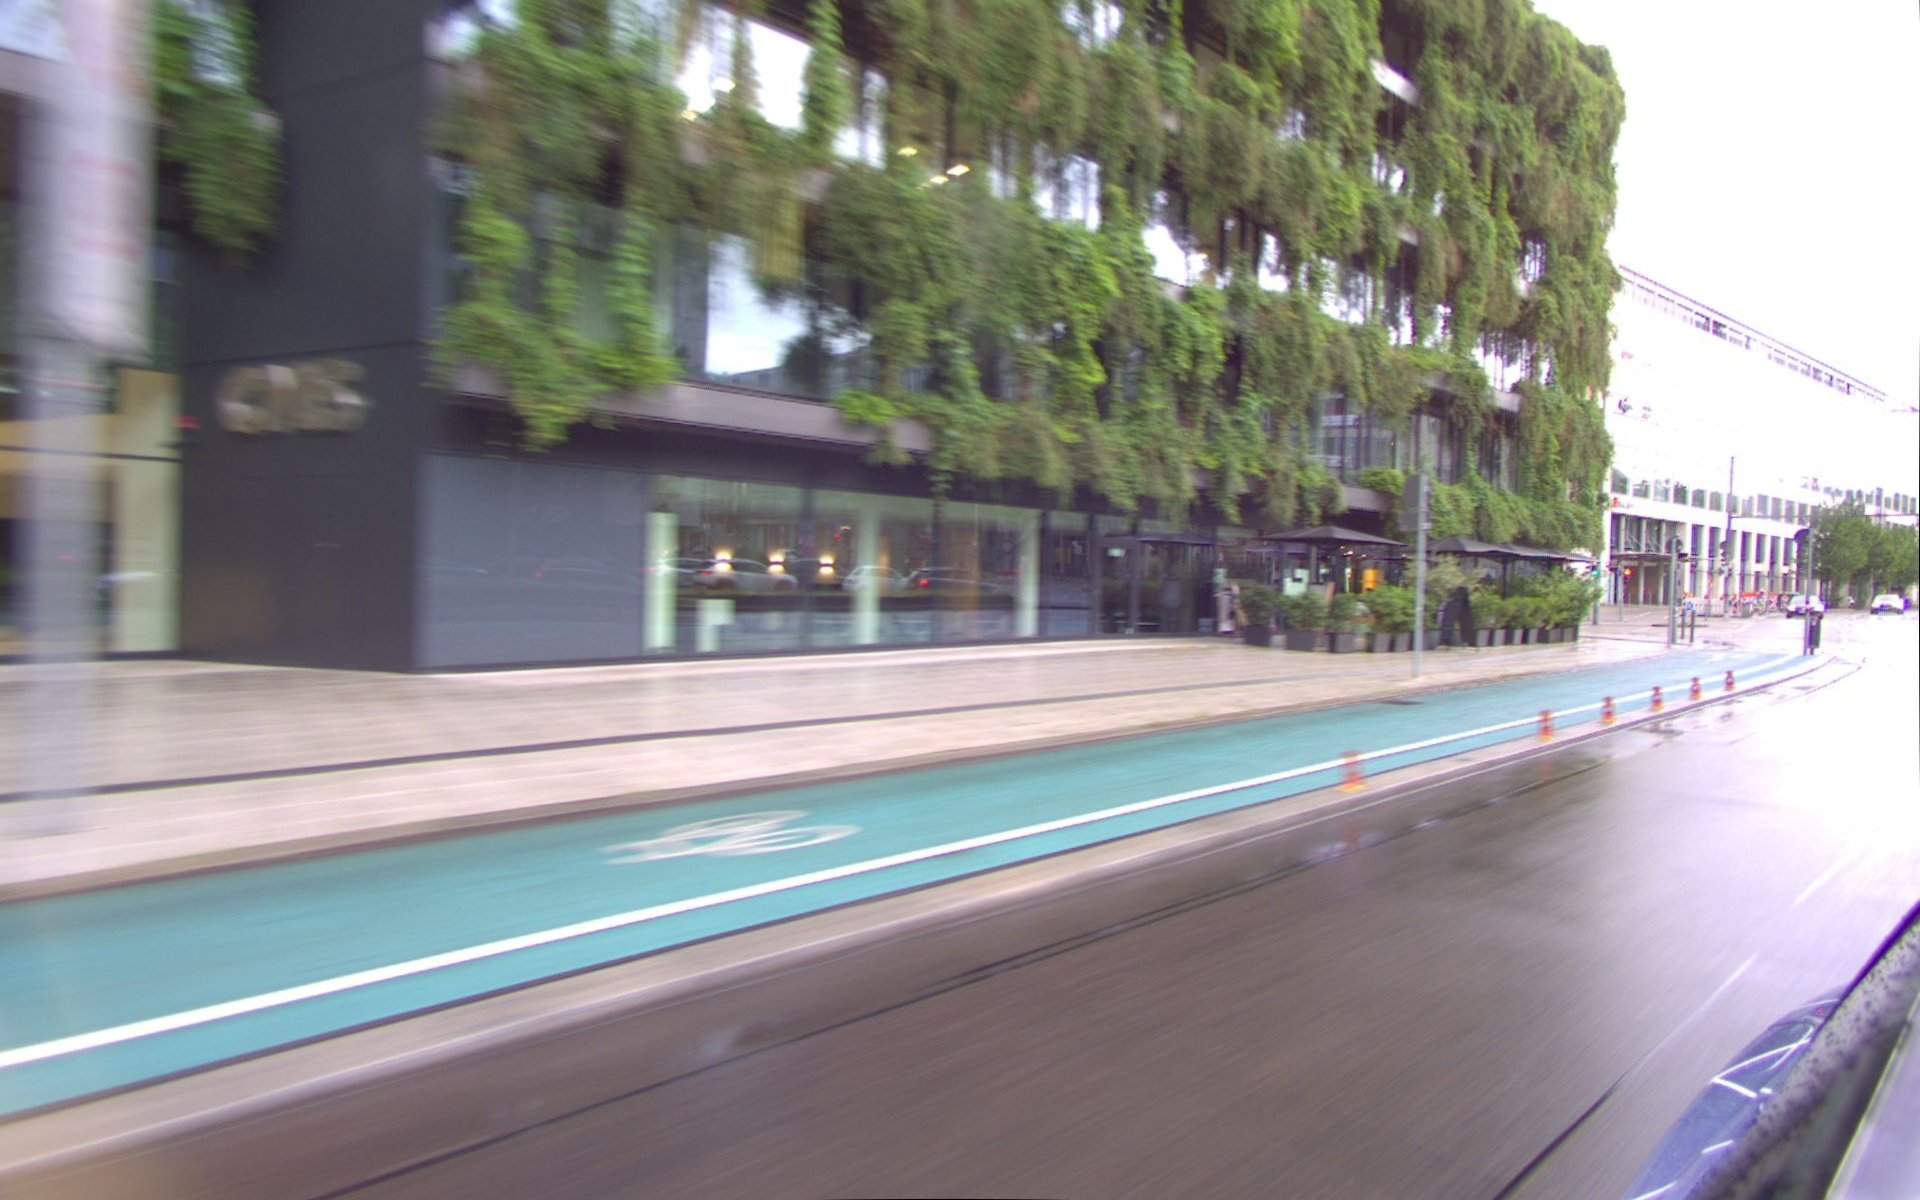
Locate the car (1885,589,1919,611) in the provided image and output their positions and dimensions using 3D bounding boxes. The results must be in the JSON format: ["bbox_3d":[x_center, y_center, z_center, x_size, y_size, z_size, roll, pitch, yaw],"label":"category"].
[{"bbox_3d":[71.928,-0.012,76.894,4.587,1.571,1.739,0,1,-39],"label":"car"}]

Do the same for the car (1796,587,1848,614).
[{"bbox_3d":[54.243,0.007,63.672,4.587,1.571,1.739,0,1,-40],"label":"car"}]

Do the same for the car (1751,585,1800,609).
[{"bbox_3d":[55.943,-0.252,69.411,4.587,1.571,1.739,0,1,-39],"label":"car"}]

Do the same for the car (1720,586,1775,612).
[{"bbox_3d":[49.776,-0.072,63.933,4.587,1.571,1.739,0,1,-39],"label":"car"}]
